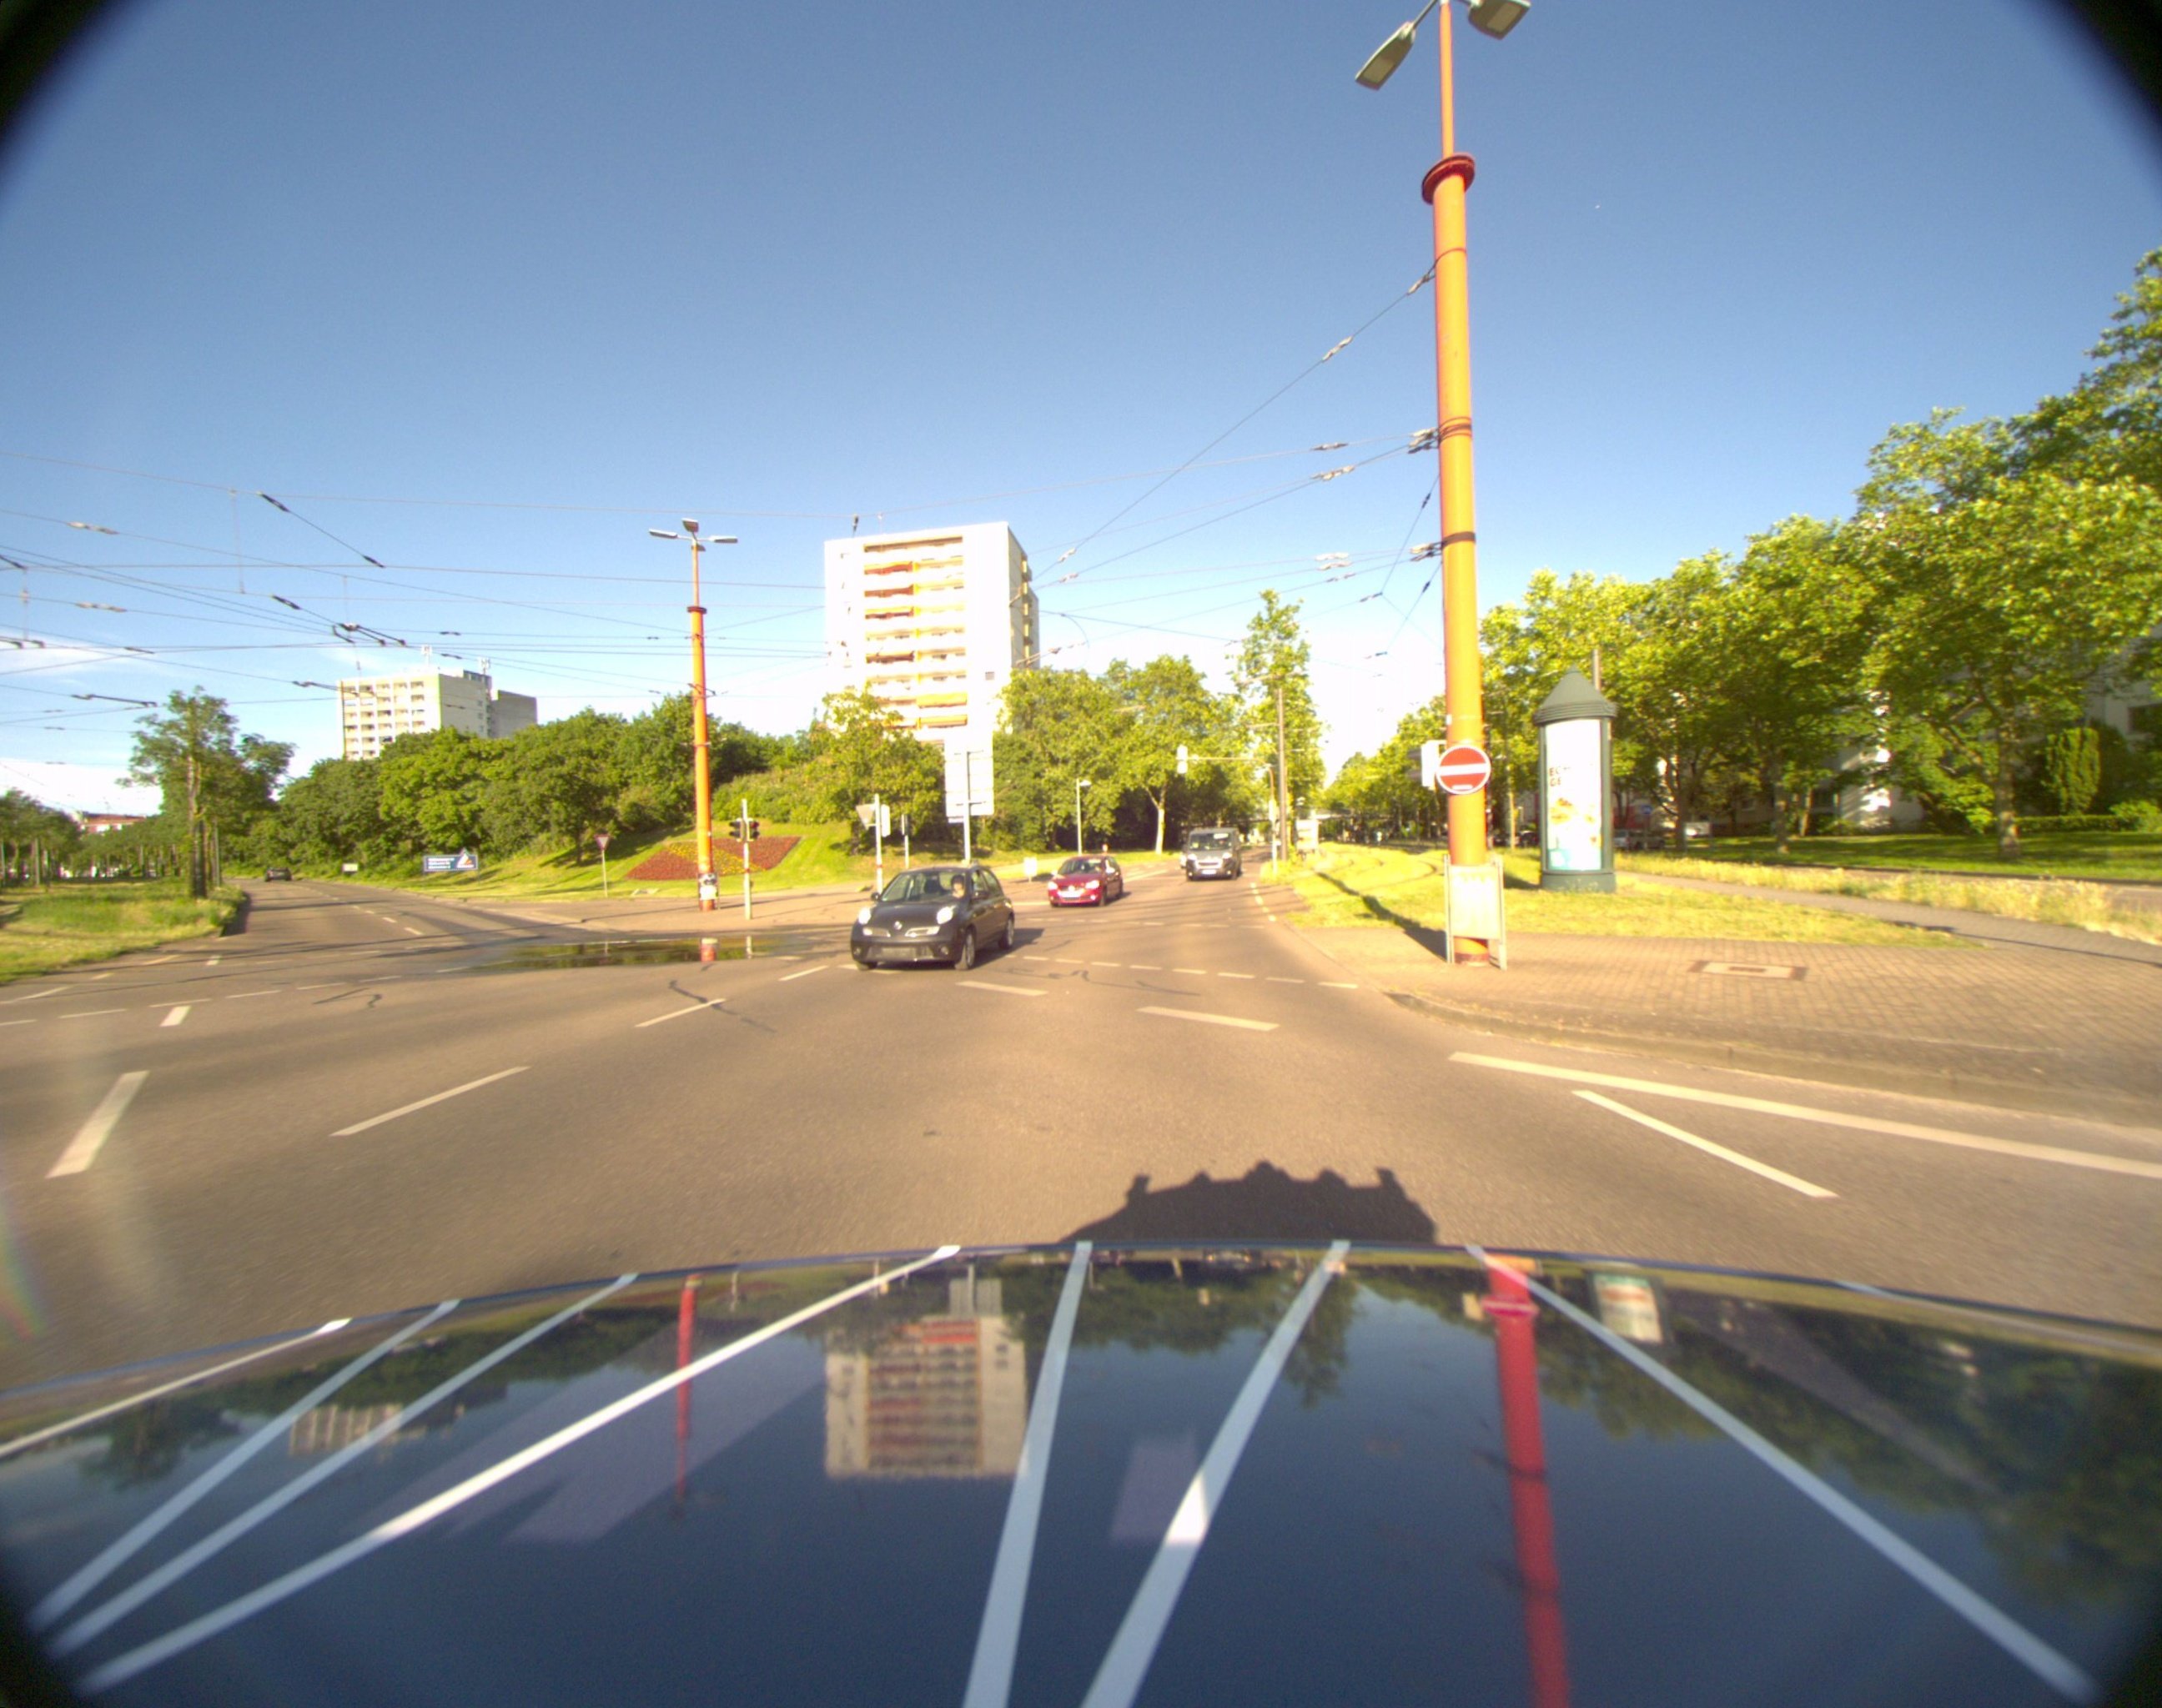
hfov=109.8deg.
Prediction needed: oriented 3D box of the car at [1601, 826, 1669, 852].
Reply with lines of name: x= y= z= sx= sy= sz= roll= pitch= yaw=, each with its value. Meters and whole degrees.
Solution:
car: x=35.449 y=-0.977 z=48.645 sx=4.054 sy=1.478 sz=1.811 roll=-3 pitch=1 yaw=-26

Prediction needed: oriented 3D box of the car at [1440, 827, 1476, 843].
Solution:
car: x=50.095 y=-2.480 z=100.998 sx=4.438 sy=1.908 sz=2.017 roll=-3 pitch=1 yaw=-27

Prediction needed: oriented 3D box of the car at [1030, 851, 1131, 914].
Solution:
car: x=0.125 y=0.756 z=22.516 sx=1.770 sy=1.549 sz=4.731 roll=-2 pitch=1 yaw=15

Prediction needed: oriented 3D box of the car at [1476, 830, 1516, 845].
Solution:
car: x=45.057 y=-1.801 z=82.542 sx=4.054 sy=1.490 sz=1.792 roll=-3 pitch=1 yaw=-27

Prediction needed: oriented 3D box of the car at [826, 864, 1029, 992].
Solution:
car: x=-2.174 y=1.005 z=12.190 sx=1.738 sy=1.474 sz=4.624 roll=-2 pitch=1 yaw=7

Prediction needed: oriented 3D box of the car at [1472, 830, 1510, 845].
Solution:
car: x=46.489 y=-1.880 z=86.120 sx=4.054 sy=1.490 sz=1.792 roll=-3 pitch=1 yaw=-27

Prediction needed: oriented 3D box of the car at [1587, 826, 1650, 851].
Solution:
car: x=36.934 y=-1.055 z=52.172 sx=4.054 sy=1.478 sz=1.761 roll=-3 pitch=1 yaw=-26

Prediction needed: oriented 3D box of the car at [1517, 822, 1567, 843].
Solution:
car: x=41.386 y=-1.905 z=68.241 sx=4.054 sy=1.654 sz=1.792 roll=-3 pitch=1 yaw=-24

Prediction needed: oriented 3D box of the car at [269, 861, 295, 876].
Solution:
car: x=-94.145 y=1.709 z=89.505 sx=4.680 sy=1.694 sz=2.004 roll=-1 pitch=2 yaw=43

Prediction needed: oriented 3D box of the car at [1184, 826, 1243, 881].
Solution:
car: x=5.950 y=-0.100 z=33.582 sx=2.037 sy=2.192 sz=5.666 roll=-2 pitch=2 yaw=15

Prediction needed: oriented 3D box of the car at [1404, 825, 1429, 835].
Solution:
car: x=58.708 y=-4.191 z=132.784 sx=4.054 sy=1.490 sz=1.792 roll=-3 pitch=1 yaw=-27

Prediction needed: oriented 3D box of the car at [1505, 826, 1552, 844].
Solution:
car: x=42.215 y=-1.760 z=71.655 sx=4.054 sy=1.490 sz=1.792 roll=-3 pitch=1 yaw=-24

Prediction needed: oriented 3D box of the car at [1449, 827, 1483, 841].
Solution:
car: x=49.658 y=-2.571 z=98.018 sx=4.054 sy=1.490 sz=1.792 roll=-3 pitch=1 yaw=-27

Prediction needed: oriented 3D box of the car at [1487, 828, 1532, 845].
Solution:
car: x=42.636 y=-1.773 z=75.554 sx=4.054 sy=1.490 sz=1.792 roll=-3 pitch=1 yaw=-24

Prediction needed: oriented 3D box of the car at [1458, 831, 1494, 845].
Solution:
car: x=47.723 y=-1.915 z=91.747 sx=4.054 sy=1.490 sz=1.792 roll=-3 pitch=1 yaw=-27

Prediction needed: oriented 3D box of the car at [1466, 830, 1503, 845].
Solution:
car: x=47.398 y=-1.956 z=89.190 sx=4.054 sy=1.490 sz=1.792 roll=-3 pitch=1 yaw=-27
